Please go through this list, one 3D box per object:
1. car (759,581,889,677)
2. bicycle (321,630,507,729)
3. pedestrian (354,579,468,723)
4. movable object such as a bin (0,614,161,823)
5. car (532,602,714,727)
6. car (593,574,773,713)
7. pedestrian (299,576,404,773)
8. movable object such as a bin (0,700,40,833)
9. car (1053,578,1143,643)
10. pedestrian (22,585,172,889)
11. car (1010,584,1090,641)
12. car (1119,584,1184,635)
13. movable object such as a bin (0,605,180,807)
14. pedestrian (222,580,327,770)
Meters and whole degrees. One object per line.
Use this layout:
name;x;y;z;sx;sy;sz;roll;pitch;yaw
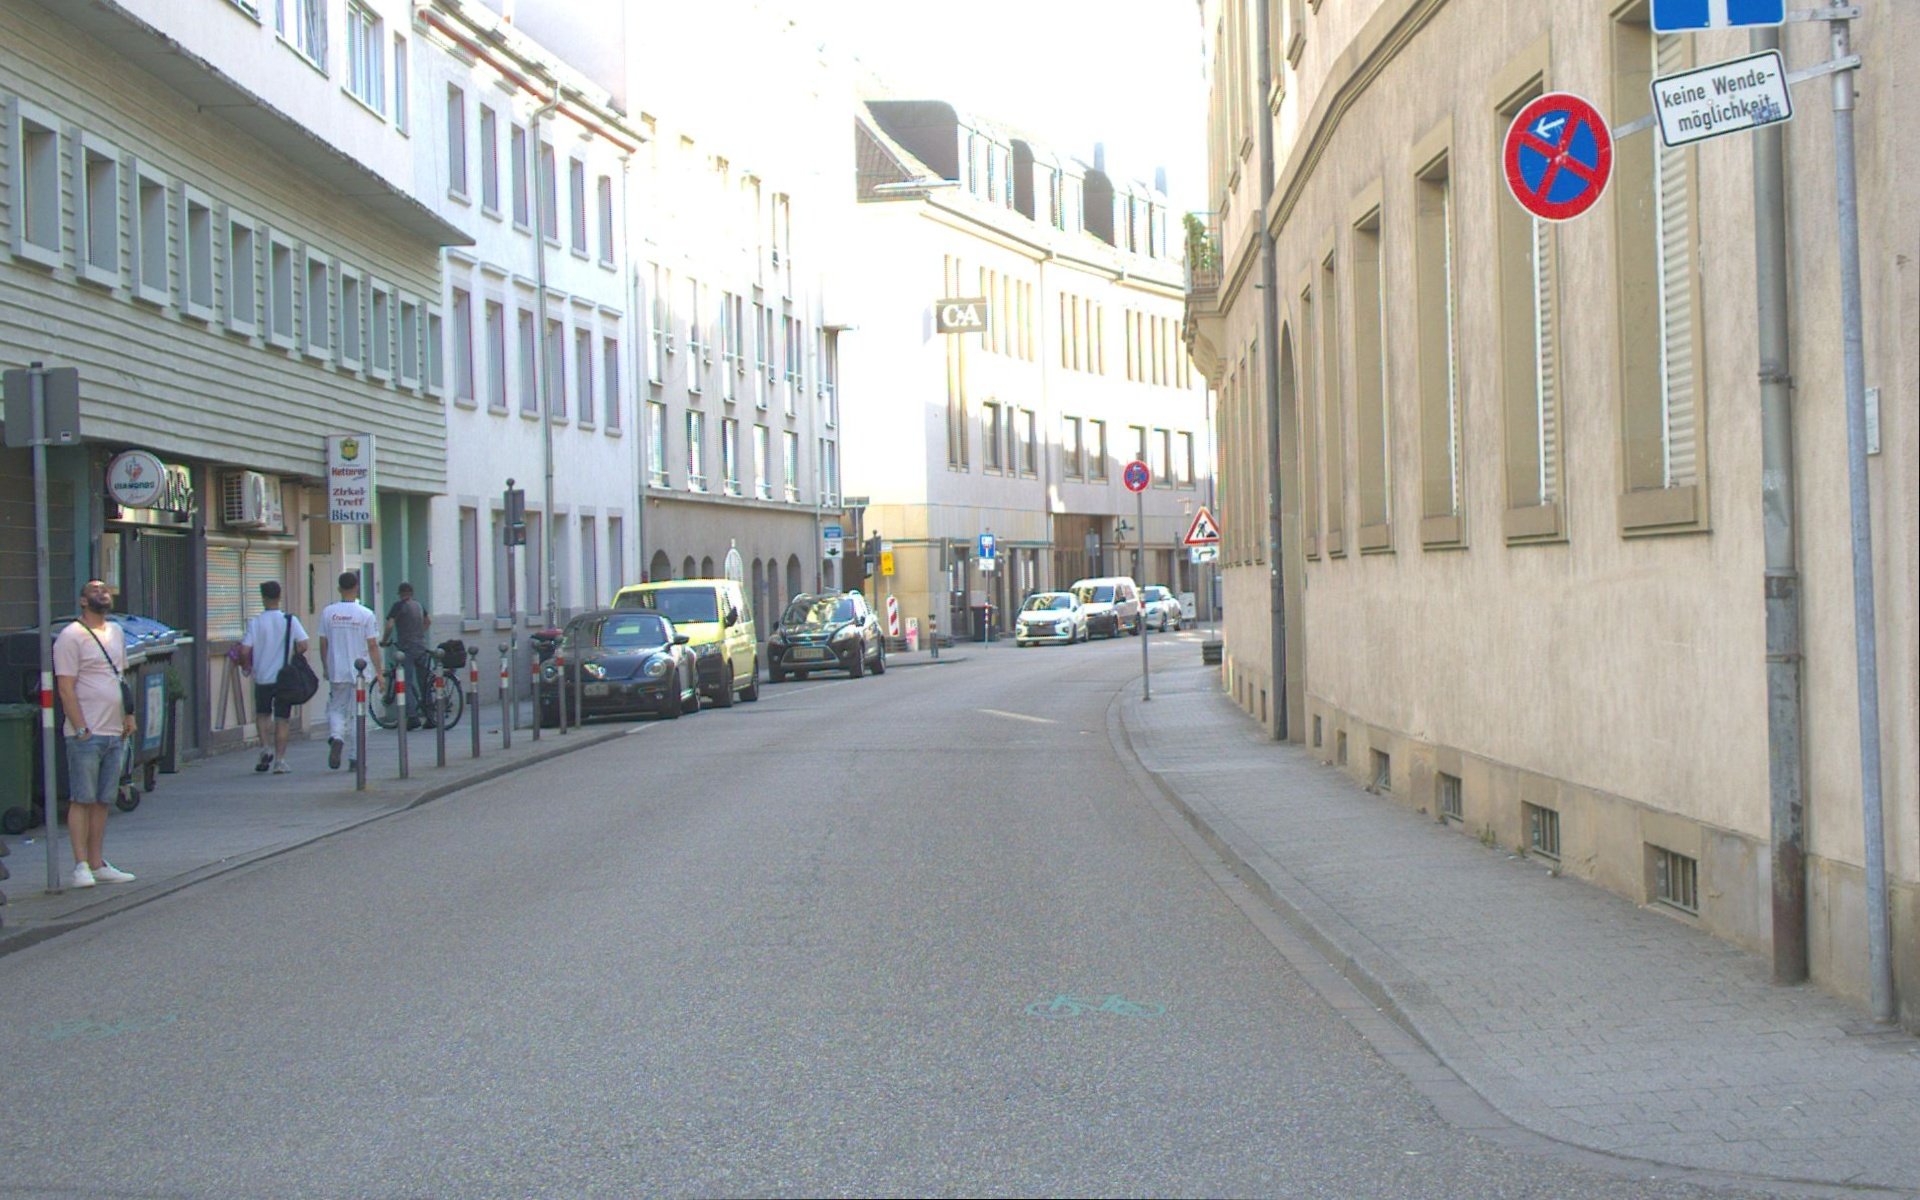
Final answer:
car;-2.642;0.544;67.721;1.740;1.705;4.189;-4;0;8
bicycle;-6.732;0.984;42.381;2.131;1.159;0.822;-2;0;25
pedestrian;-6.771;0.625;42.398;1.079;1.723;0.801;-2;0;25
movable object such as a bin;-6.726;0.874;26.007;0.968;1.466;1.474;-2;1;0
car;-4.476;0.830;46.213;1.819;1.481;4.076;-4;0;2
car;-4.098;0.618;51.632;1.880;1.860;4.863;-4;0;4
pedestrian;-5.503;0.662;31.124;0.698;1.728;0.829;-3;0;2
movable object such as a bin;-6.967;1.209;25.001;0.393;0.939;0.467;-2;0;0
car;4.195;0.291;103.800;1.671;1.812;4.549;-3;0;15
pedestrian;-4.823;0.752;19.225;0.493;1.664;0.626;1;0;43
car;2.587;0.336;98.126;1.671;1.502;3.792;-3;0;10
car;6.122;0.297;109.745;1.272;1.502;3.399;-3;0;16
movable object such as a bin;-6.972;0.825;27.450;1.122;1.515;1.342;-2;1;0
pedestrian;-6.188;0.669;31.076;0.672;1.664;0.894;-3;0;2
